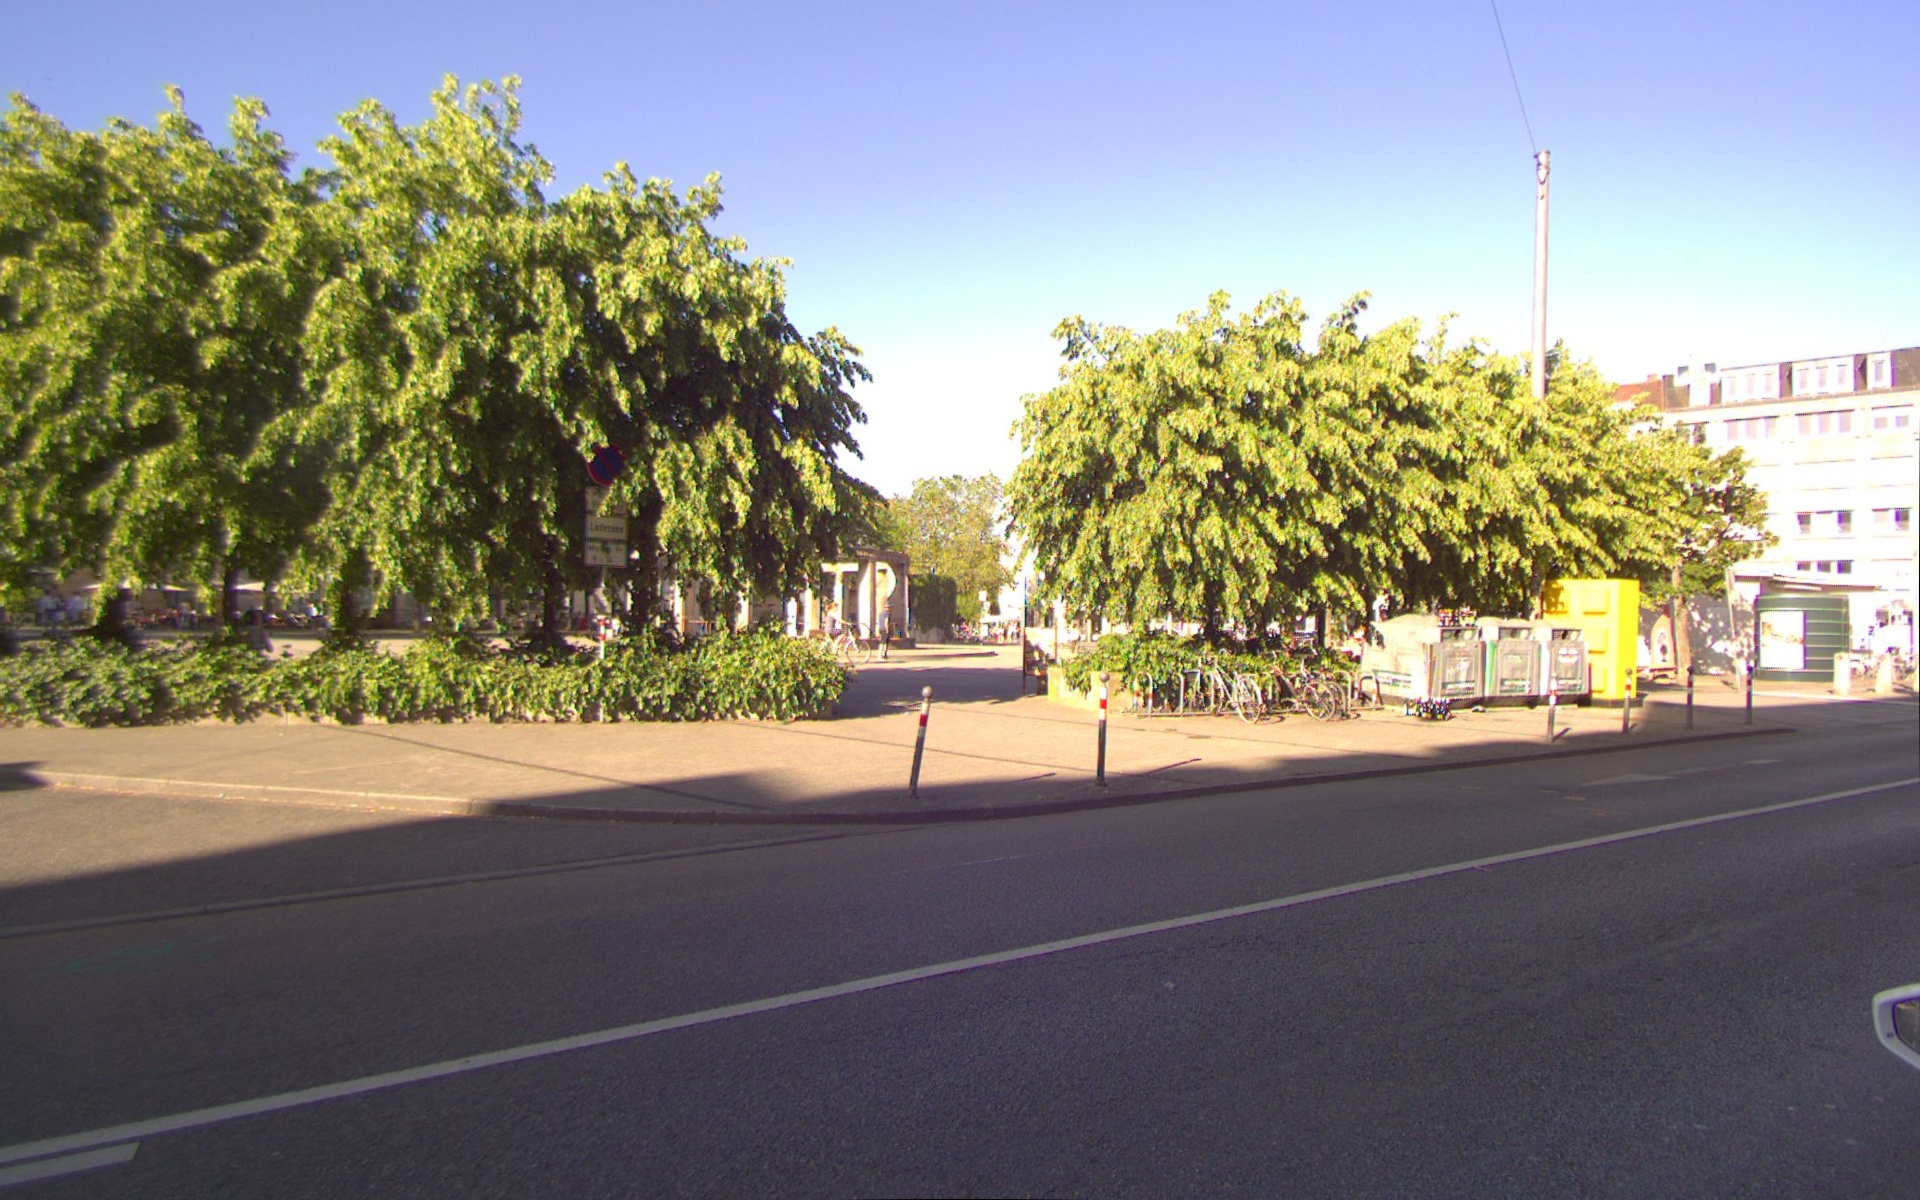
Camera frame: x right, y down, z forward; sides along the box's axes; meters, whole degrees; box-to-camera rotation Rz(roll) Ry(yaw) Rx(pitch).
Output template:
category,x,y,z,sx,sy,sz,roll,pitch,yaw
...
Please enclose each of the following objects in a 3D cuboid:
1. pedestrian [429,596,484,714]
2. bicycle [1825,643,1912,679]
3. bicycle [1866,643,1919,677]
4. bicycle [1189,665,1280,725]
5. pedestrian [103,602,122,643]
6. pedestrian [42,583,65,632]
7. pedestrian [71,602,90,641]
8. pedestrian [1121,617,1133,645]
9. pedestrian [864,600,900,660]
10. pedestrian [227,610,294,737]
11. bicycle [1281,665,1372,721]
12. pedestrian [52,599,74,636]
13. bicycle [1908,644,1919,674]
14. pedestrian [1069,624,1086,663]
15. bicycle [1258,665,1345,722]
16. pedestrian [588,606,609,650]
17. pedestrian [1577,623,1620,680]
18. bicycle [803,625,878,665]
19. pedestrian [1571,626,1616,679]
category,x,y,z,sx,sy,sz,roll,pitch,yaw
pedestrian,-8.270,0.885,16.504,0.574,1.881,0.598,1,0,41
bicycle,30.861,2.067,34.159,0.796,1.119,2.072,1,-1,-30
bicycle,33.166,2.115,35.134,0.796,1.119,2.072,1,-1,-30
bicycle,4.225,1.443,15.562,0.467,0.779,1.653,2,0,-20
pedestrian,-38.195,0.998,45.290,0.579,1.816,0.593,2,0,-44
pedestrian,-33.791,0.291,37.443,0.597,1.816,0.576,2,0,-40
pedestrian,-41.277,0.994,47.148,0.597,1.816,0.575,2,0,-44
pedestrian,11.038,2.066,66.501,0.591,1.816,0.581,1,0,-12
pedestrian,-2.341,0.890,29.946,0.918,1.775,0.728,2,0,-15
pedestrian,-10.638,1.103,15.299,0.722,1.881,0.578,2,0,-28
bicycle,5.961,1.502,16.421,0.468,0.779,1.468,2,0,-27
pedestrian,-44.954,0.890,50.352,0.571,1.816,0.601,1,0,19
bicycle,37.129,2.249,37.712,0.796,1.119,2.072,1,-1,-30
pedestrian,6.315,2.335,53.814,0.670,2.040,0.579,2,0,-23
bicycle,5.471,1.482,16.161,0.435,0.779,1.469,2,0,-25
pedestrian,-14.704,1.127,40.809,0.579,1.744,0.593,2,0,-44
pedestrian,20.248,1.621,31.847,0.734,1.748,0.898,1,0,-26
bicycle,-3.291,1.241,27.596,2.022,1.030,0.503,2,0,-10
pedestrian,20.167,1.661,31.989,0.727,1.658,0.983,1,0,-26
